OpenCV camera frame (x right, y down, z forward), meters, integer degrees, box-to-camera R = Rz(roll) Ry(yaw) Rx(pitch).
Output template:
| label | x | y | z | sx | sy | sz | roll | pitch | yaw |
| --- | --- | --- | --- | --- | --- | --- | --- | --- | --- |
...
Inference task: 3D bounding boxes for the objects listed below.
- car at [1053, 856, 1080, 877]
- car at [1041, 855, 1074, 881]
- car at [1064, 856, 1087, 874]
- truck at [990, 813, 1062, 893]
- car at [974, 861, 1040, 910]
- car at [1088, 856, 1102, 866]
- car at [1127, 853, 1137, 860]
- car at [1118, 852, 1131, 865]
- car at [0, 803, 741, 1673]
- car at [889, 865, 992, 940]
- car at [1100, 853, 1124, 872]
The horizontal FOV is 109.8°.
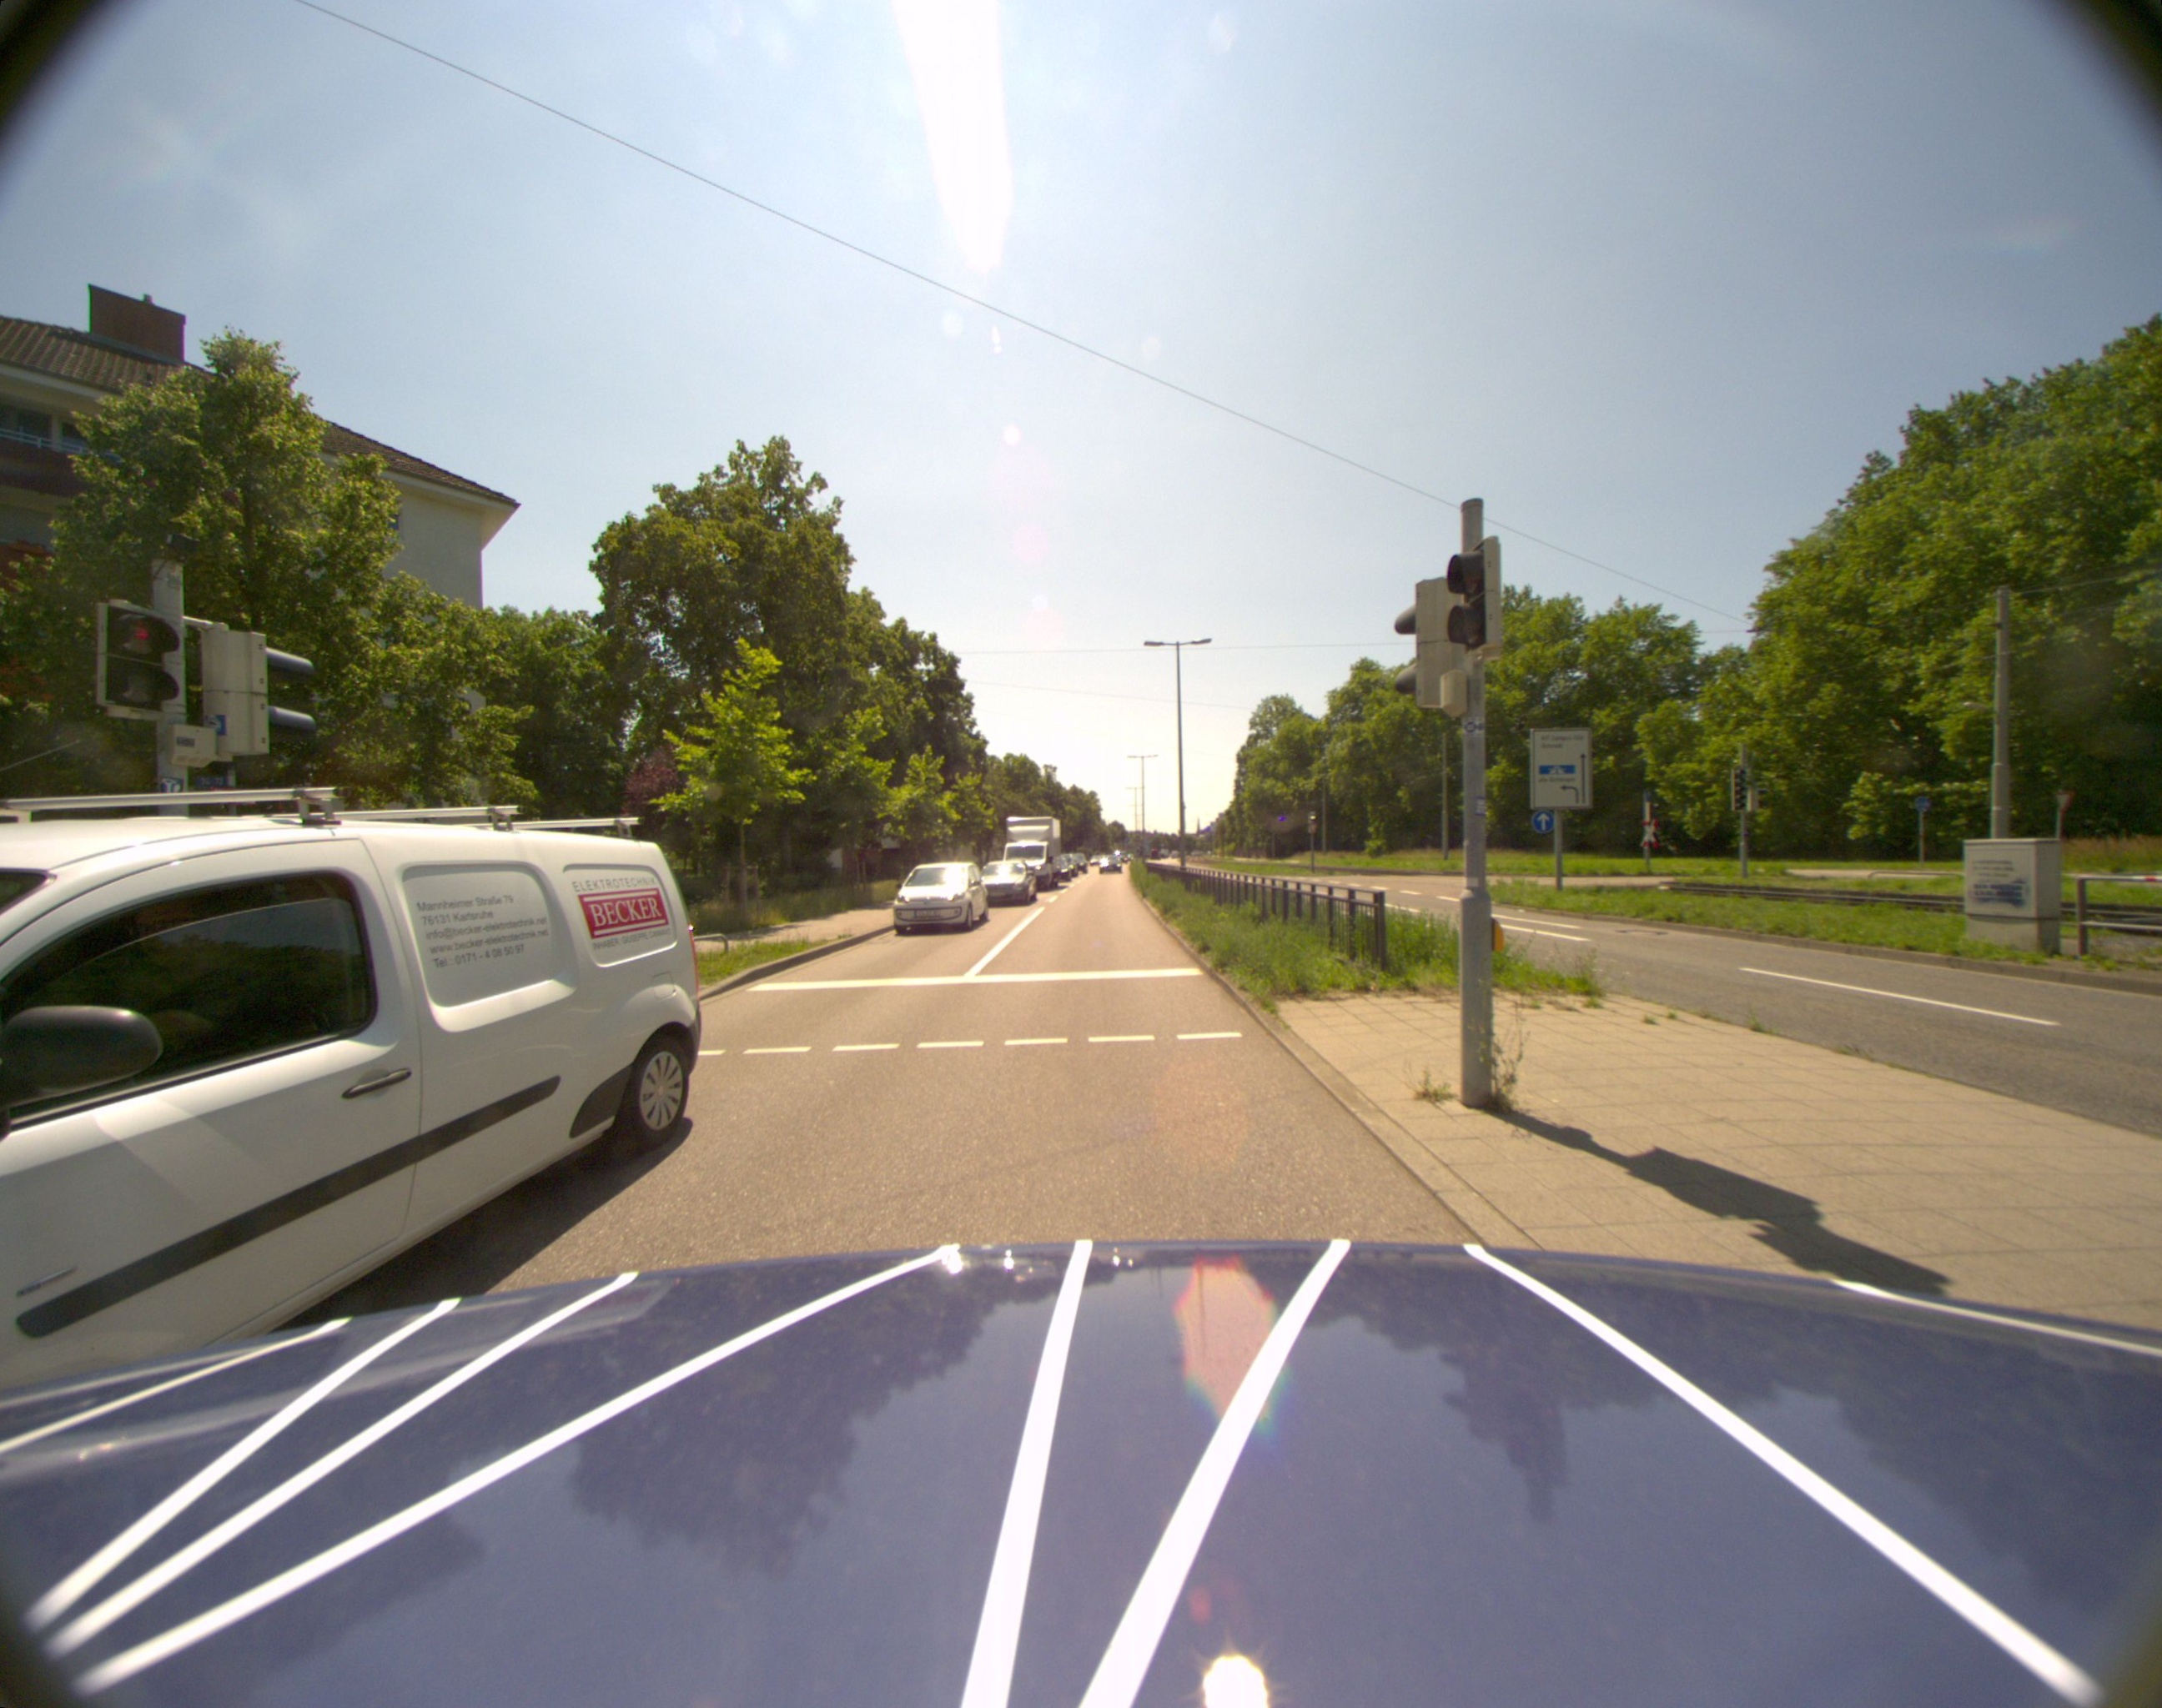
| label | x | y | z | sx | sy | sz | roll | pitch | yaw |
| --- | --- | --- | --- | --- | --- | --- | --- | --- | --- |
| car | -1.001 | 0.850 | 54.006 | 1.618 | 1.373 | 4.115 | -2 | 0 | 2 |
| car | -1.387 | 0.813 | 45.539 | 1.746 | 1.382 | 3.887 | -1 | 0 | 1 |
| car | -0.401 | 0.865 | 62.747 | 1.746 | 1.382 | 3.887 | -1 | 0 | 1 |
| truck | -2.380 | -0.072 | 35.044 | 2.489 | 3.277 | 6.605 | -1 | 0 | 3 |
| car | -2.365 | 0.994 | 25.354 | 1.618 | 1.373 | 4.115 | -2 | 0 | 2 |
| car | 2.007 | 0.947 | 105.469 | 1.745 | 1.382 | 3.888 | -1 | 1 | 4 |
| car | 10.099 | 0.470 | 149.562 | 1.745 | 1.382 | 3.889 | -1 | 1 | 7 |
| car | 6.584 | 0.673 | 114.412 | 1.746 | 1.840 | 3.887 | -1 | 1 | 1 |
| car | -3.231 | 0.847 | 2.565 | 1.809 | 1.845 | 5.082 | -3 | 0 | 0 |
| car | -3.115 | 1.031 | 17.516 | 1.626 | 1.433 | 3.498 | -2 | 0 | 1 |
| car | 2.425 | 0.659 | 60.170 | 1.746 | 1.382 | 3.887 | -1 | 0 | 1 |
